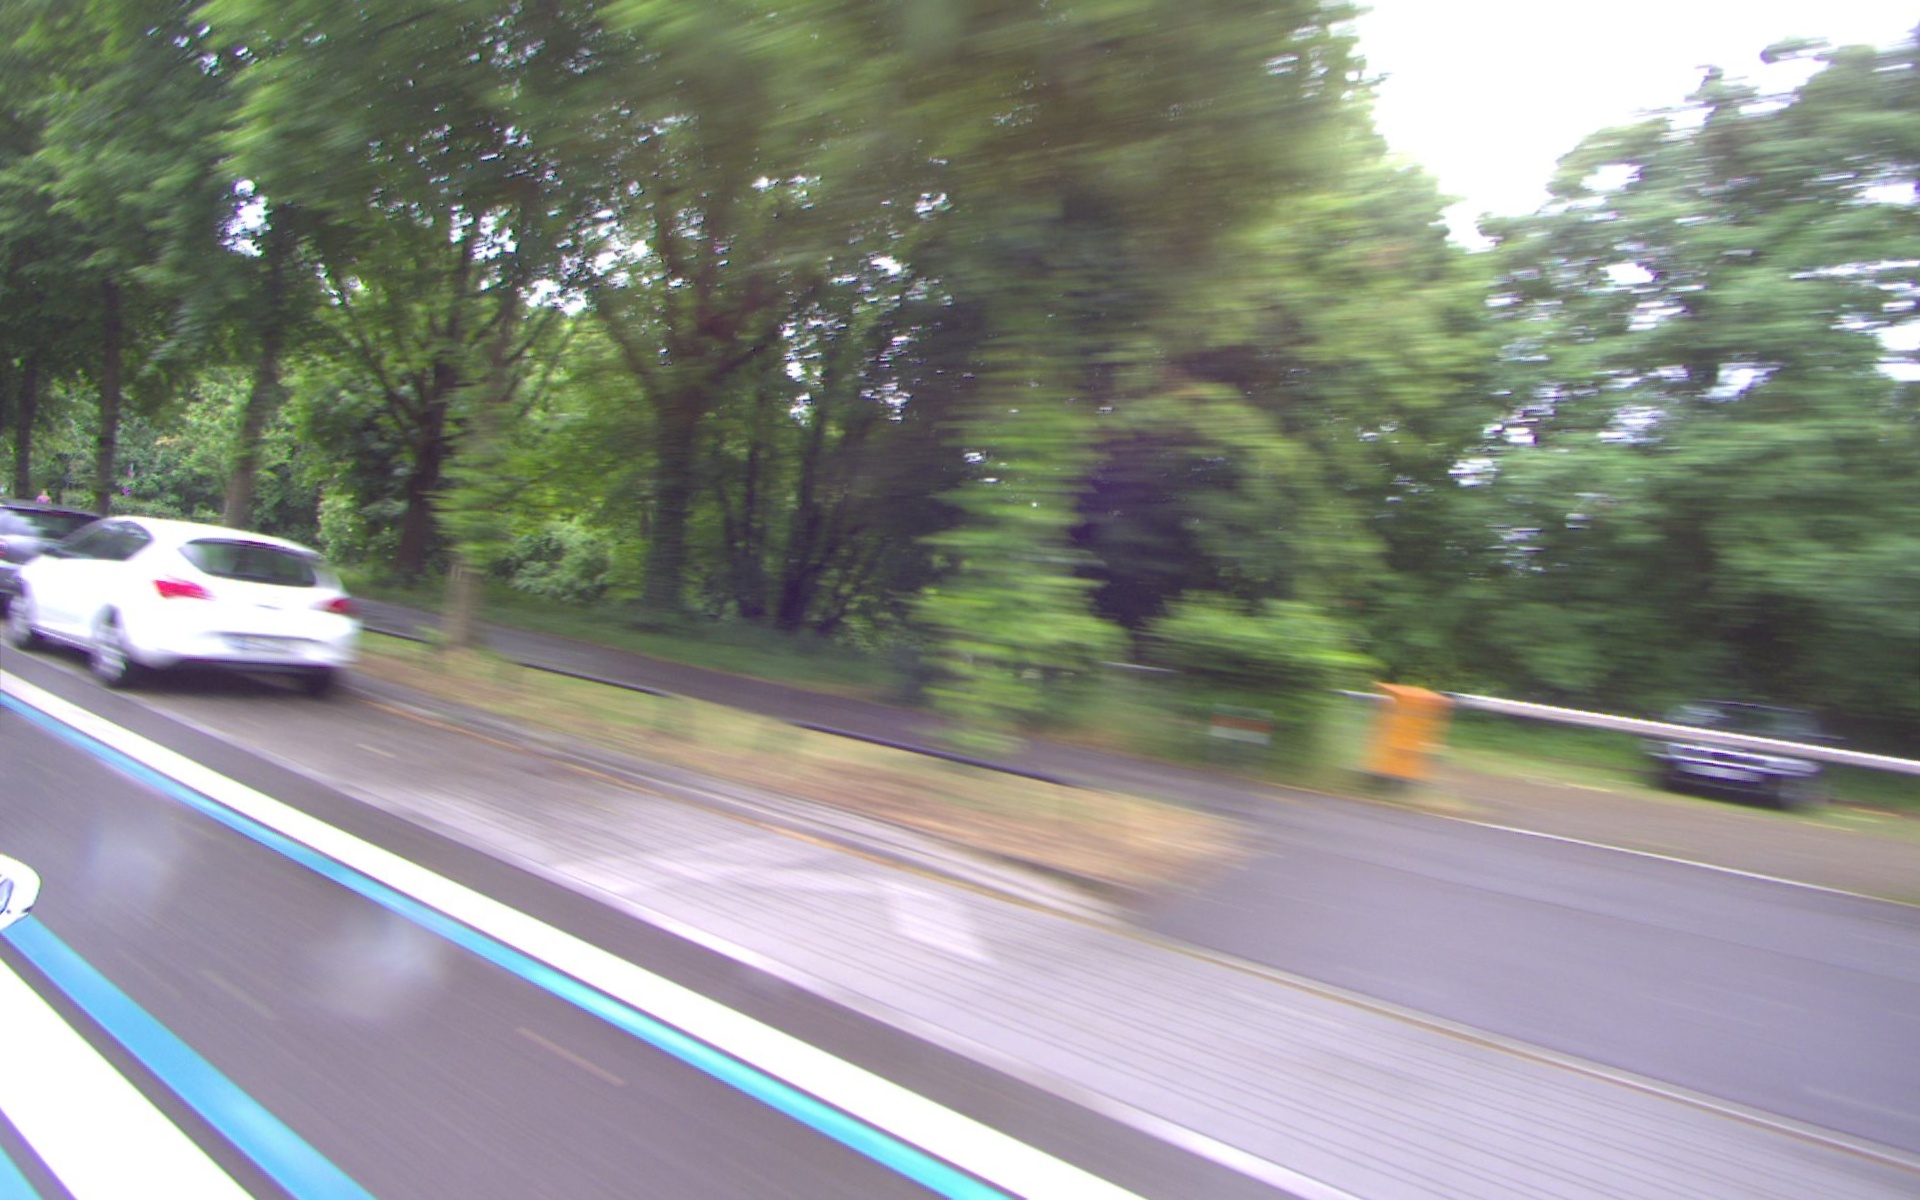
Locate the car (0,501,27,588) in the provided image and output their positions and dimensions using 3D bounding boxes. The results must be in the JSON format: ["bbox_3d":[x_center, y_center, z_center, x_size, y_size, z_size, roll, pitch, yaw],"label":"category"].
[{"bbox_3d":[-18.333,-1.219,17.730,4.771,1.423,1.783,6,-3,36],"label":"car"}]

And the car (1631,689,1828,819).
[{"bbox_3d":[11.179,2.088,14.500,1.864,1.338,4.129,7,0,41],"label":"car"}]

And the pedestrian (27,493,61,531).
[{"bbox_3d":[-47.215,-4.549,51.852,1.128,1.753,0.888,7,-1,34],"label":"pedestrian"}]

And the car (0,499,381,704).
[{"bbox_3d":[-7.964,-0.049,10.113,4.577,1.444,1.862,6,-3,36],"label":"car"}]

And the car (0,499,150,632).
[{"bbox_3d":[-12.724,-0.582,13.652,4.254,1.444,1.684,6,-3,39],"label":"car"}]
